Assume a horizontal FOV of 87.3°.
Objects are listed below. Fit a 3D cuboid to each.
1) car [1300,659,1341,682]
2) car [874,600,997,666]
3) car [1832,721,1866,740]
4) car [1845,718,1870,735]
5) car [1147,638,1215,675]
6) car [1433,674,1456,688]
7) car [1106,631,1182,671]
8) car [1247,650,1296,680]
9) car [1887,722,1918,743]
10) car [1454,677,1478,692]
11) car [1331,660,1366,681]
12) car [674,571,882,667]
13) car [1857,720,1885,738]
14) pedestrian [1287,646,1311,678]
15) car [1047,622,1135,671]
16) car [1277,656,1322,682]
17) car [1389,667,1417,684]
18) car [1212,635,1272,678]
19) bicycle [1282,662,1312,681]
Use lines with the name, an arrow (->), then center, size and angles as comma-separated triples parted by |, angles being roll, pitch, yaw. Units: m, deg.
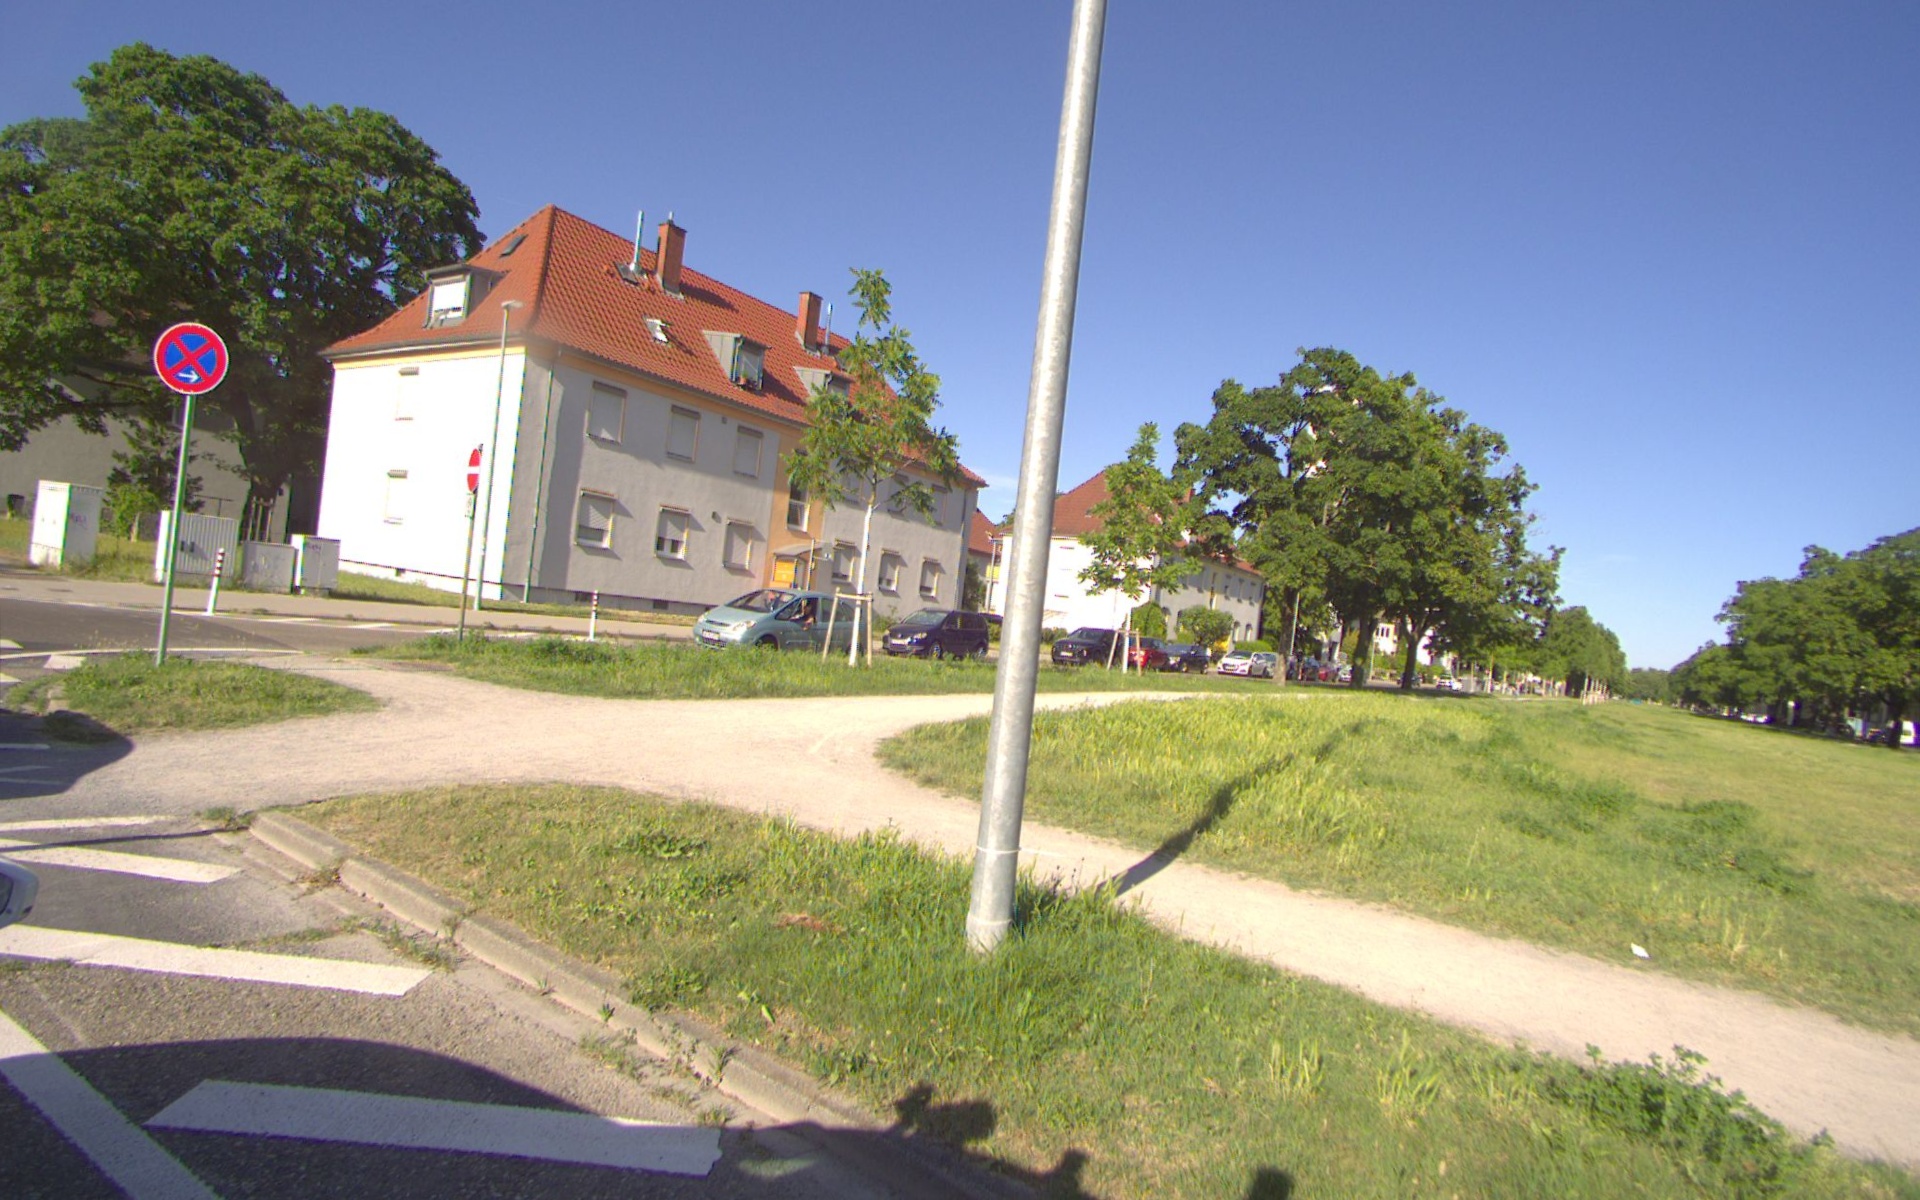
car -> 25.543, 4.987, 71.214 | 1.694, 1.358, 3.798 | 7, 0, 35
car -> -0.715, 1.091, 31.975 | 1.694, 1.684, 4.053 | 7, 0, 35
car -> 93.491, 13.727, 105.811 | 2.049, 1.484, 4.713 | 7, 0, 36
car -> 119.242, 16.784, 133.721 | 1.837, 1.868, 3.982 | 7, 0, 36
car -> 10.901, 2.794, 49.490 | 1.694, 1.459, 4.129 | 7, 0, 35
car -> 56.803, 9.447, 117.884 | 1.694, 1.358, 3.798 | 7, 0, 35
car -> 8.399, 2.329, 45.699 | 1.694, 1.459, 4.129 | 7, 0, 35
car -> 19.150, 3.986, 61.742 | 1.694, 1.517, 3.798 | 7, 0, 35
car -> 103.630, 14.521, 110.641 | 1.837, 1.868, 3.982 | 7, 0, 36
car -> 53.418, 8.920, 106.210 | 1.694, 1.358, 3.798 | 7, 0, 35
car -> 31.047, 5.614, 80.324 | 1.694, 1.358, 3.798 | 7, 0, 35
car -> -3.815, 0.469, 21.818 | 1.859, 1.628, 4.235 | 7, 0, 35
car -> 110.280, 15.600, 121.766 | 1.837, 1.868, 3.982 | 7, 0, 36
pedestrian -> 19.572, 3.562, 58.079 | 1.036, 1.730, 0.692 | 7, 1, 30
car -> 5.367, 1.914, 40.877 | 1.694, 1.602, 4.129 | 7, 0, 35
car -> 22.255, 4.526, 65.950 | 1.694, 1.358, 3.798 | 7, 0, 35
car -> 43.668, 7.474, 99.121 | 1.694, 1.358, 3.798 | 7, 0, 35
car -> 16.074, 3.236, 57.197 | 1.842, 2.038, 4.244 | 7, 0, 35
bicycle -> 19.462, 4.118, 58.006 | 1.036, 0.949, 2.759 | 7, 0, 30
